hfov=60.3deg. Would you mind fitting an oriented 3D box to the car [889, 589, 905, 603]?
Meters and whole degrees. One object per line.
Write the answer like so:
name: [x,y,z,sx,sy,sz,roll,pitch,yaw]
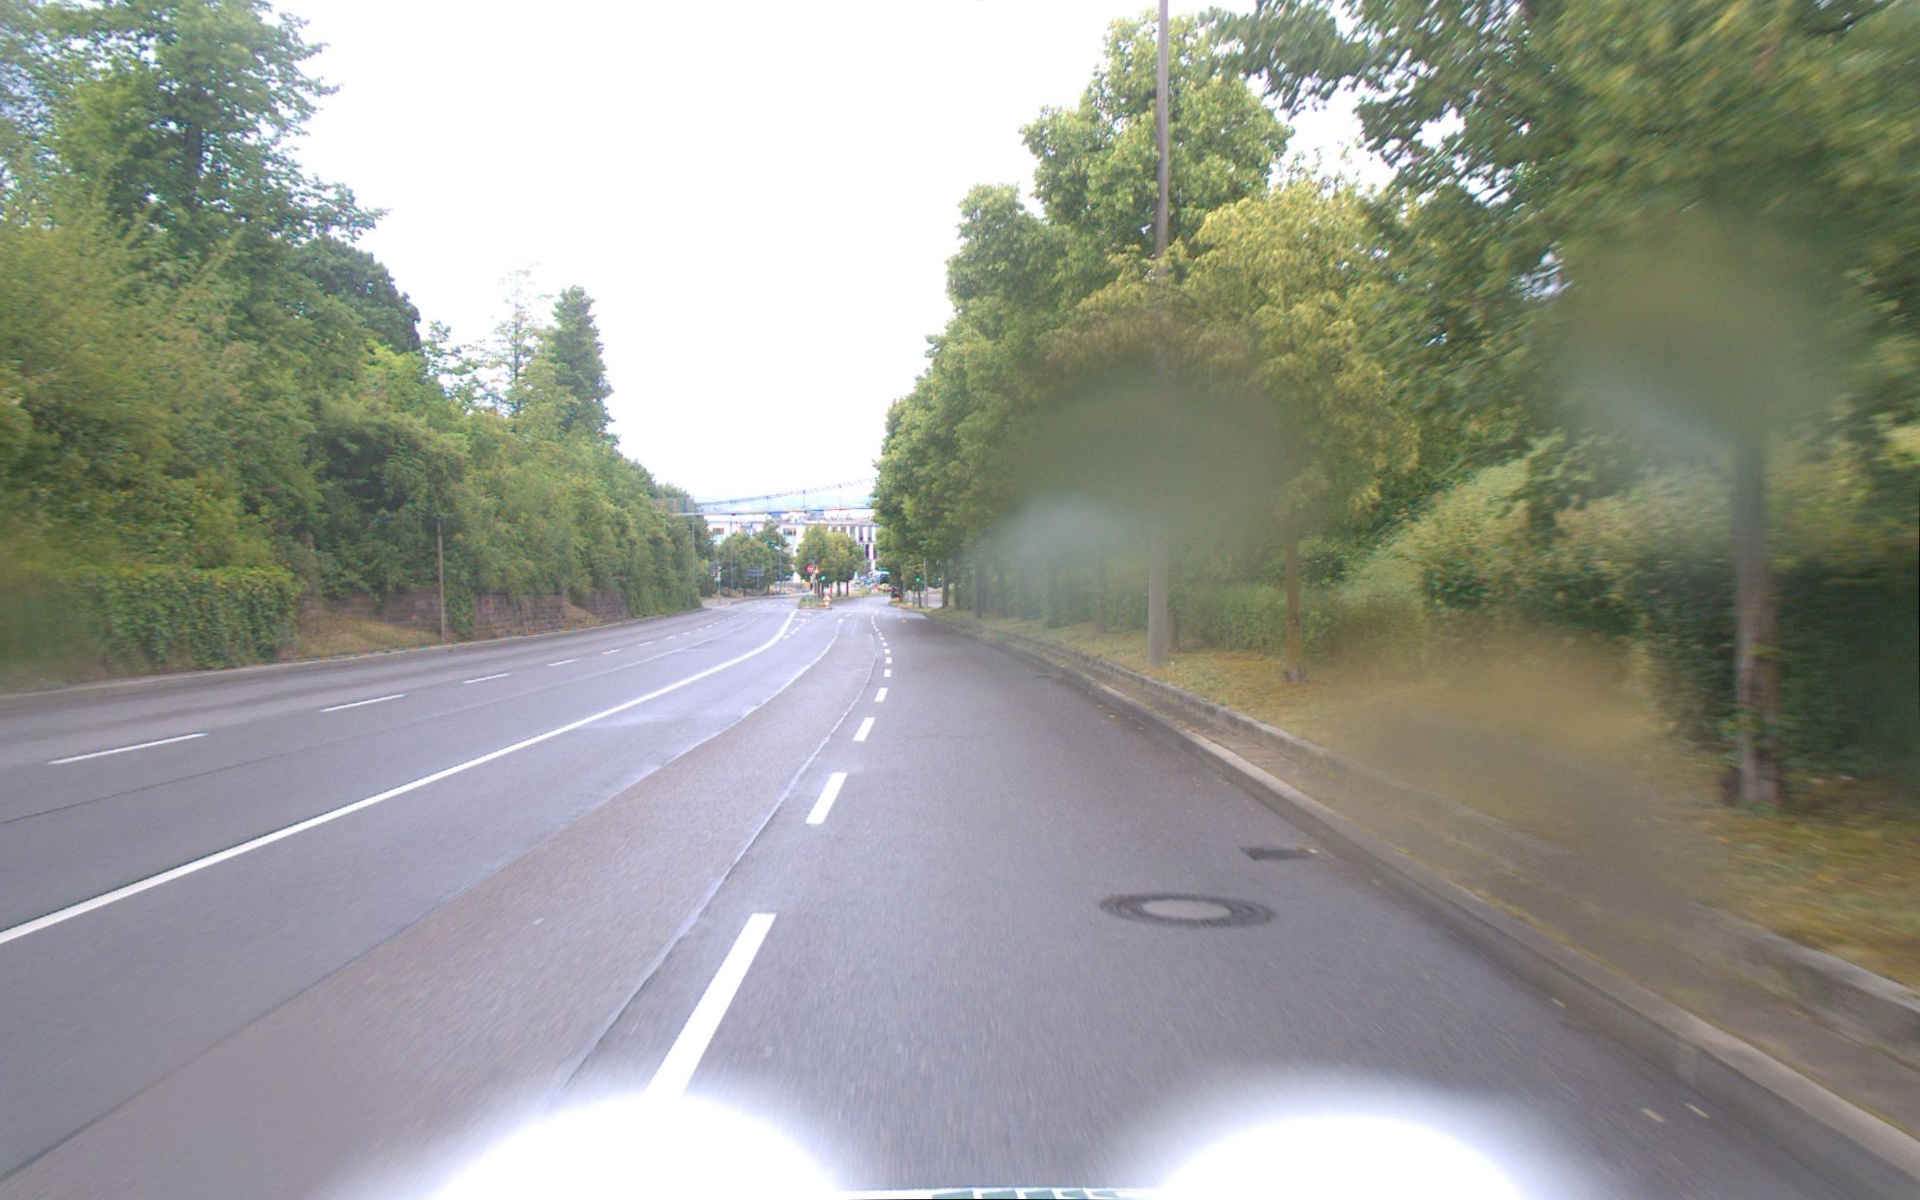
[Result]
car: [-8.772,-0.563,230.376,1.811,1.731,3.793,2,-1,2]
